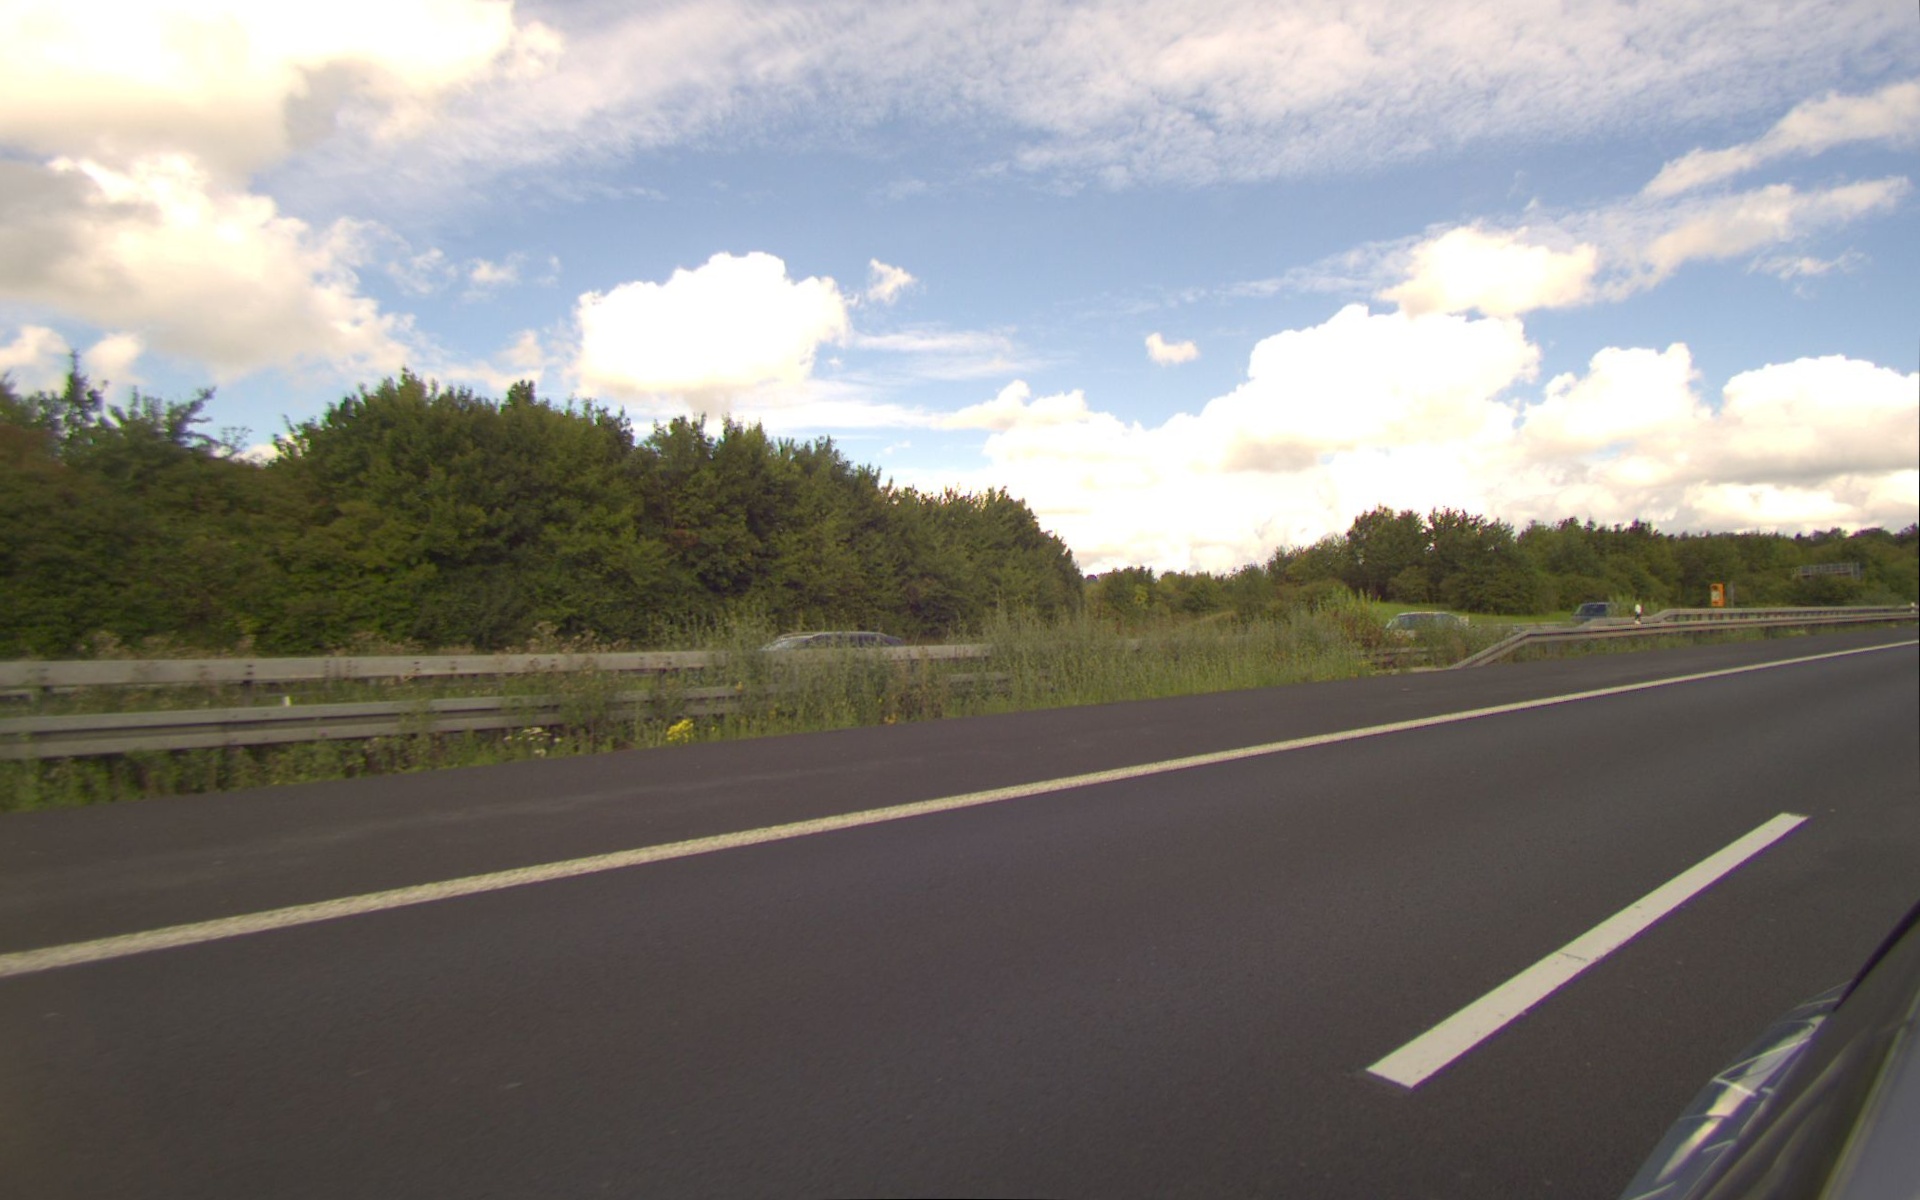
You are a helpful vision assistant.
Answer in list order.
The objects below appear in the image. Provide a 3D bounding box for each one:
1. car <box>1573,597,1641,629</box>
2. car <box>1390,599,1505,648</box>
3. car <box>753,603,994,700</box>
[{"bbox_3d":[34.721,0.673,54.278,4.266,1.591,1.788,0,0,-39],"label":"car"},{"bbox_3d":[16.781,0.768,34.765,4.592,1.538,1.788,-1,0,-39],"label":"car"},{"bbox_3d":[-1.549,0.881,19.044,4.266,1.591,1.788,0,0,-39],"label":"car"}]
